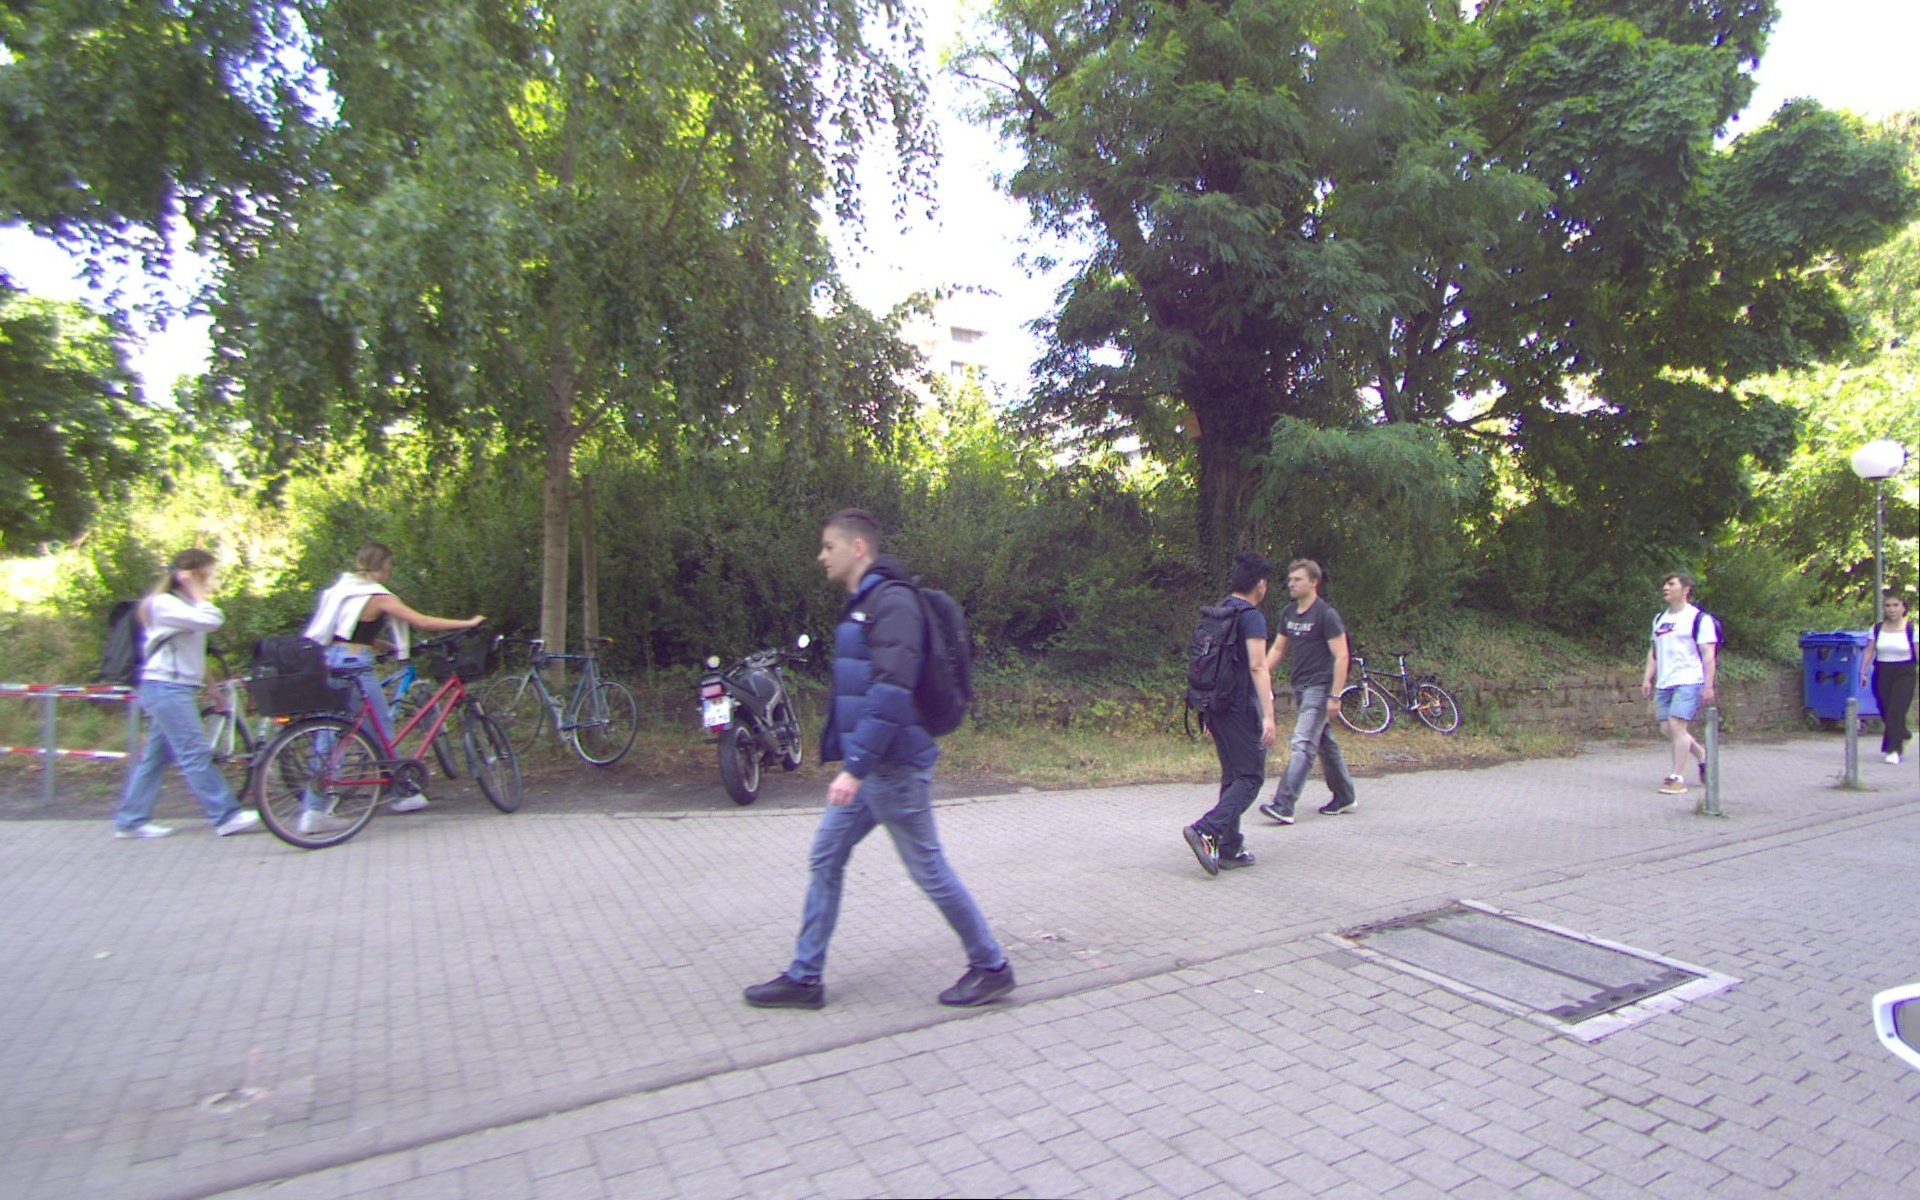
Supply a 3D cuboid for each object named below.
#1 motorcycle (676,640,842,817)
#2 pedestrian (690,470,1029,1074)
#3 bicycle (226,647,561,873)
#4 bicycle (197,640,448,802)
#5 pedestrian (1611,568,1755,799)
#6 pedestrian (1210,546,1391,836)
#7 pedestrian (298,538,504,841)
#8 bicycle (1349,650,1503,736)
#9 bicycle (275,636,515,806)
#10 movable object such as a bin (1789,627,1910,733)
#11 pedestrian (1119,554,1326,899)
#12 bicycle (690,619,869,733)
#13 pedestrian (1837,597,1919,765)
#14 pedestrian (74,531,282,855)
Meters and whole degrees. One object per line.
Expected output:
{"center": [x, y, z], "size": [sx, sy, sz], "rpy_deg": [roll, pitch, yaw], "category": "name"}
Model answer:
{"center": [-1.450, 0.887, 7.642], "size": [0.464, 1.061, 2.027], "rpy_deg": [1, 1, 12], "category": "motorcycle"}
{"center": [-0.303, 0.532, 3.640], "size": [1.011, 1.882, 0.889], "rpy_deg": [1, 0, 8], "category": "pedestrian"}
{"center": [-3.331, 0.868, 6.145], "size": [0.531, 1.061, 1.909], "rpy_deg": [1, 0, 18], "category": "bicycle"}
{"center": [-4.809, 0.861, 7.717], "size": [0.465, 1.061, 1.700], "rpy_deg": [1, -1, 18], "category": "bicycle"}
{"center": [6.426, 0.708, 8.923], "size": [1.072, 1.906, 0.719], "rpy_deg": [2, -1, -35], "category": "pedestrian"}
{"center": [2.438, 0.610, 7.170], "size": [1.110, 1.897, 0.678], "rpy_deg": [2, -1, -35], "category": "pedestrian"}
{"center": [-3.509, 0.529, 6.359], "size": [0.664, 1.747, 0.937], "rpy_deg": [-1, -1, 23], "category": "pedestrian"}
{"center": [5.294, 1.058, 11.405], "size": [1.711, 0.922, 0.421], "rpy_deg": [2, -1, -16], "category": "bicycle"}
{"center": [-4.198, 0.843, 7.616], "size": [0.465, 1.061, 1.700], "rpy_deg": [2, 1, 18], "category": "bicycle"}
{"center": [12.145, 1.071, 13.726], "size": [1.220, 1.354, 0.708], "rpy_deg": [1, 1, -21], "category": "movable object such as a bin"}
{"center": [1.465, 0.648, 5.618], "size": [0.894, 1.747, 0.680], "rpy_deg": [1, 0, -33], "category": "pedestrian"}
{"center": [-1.767, 0.749, 9.941], "size": [1.669, 1.061, 0.473], "rpy_deg": [2, 1, -9], "category": "bicycle"}
{"center": [10.204, 0.857, 11.006], "size": [0.992, 1.751, 0.678], "rpy_deg": [1, -1, -34], "category": "pedestrian"}
{"center": [-4.571, 0.510, 5.897], "size": [0.673, 1.747, 0.731], "rpy_deg": [-1, -1, 23], "category": "pedestrian"}
